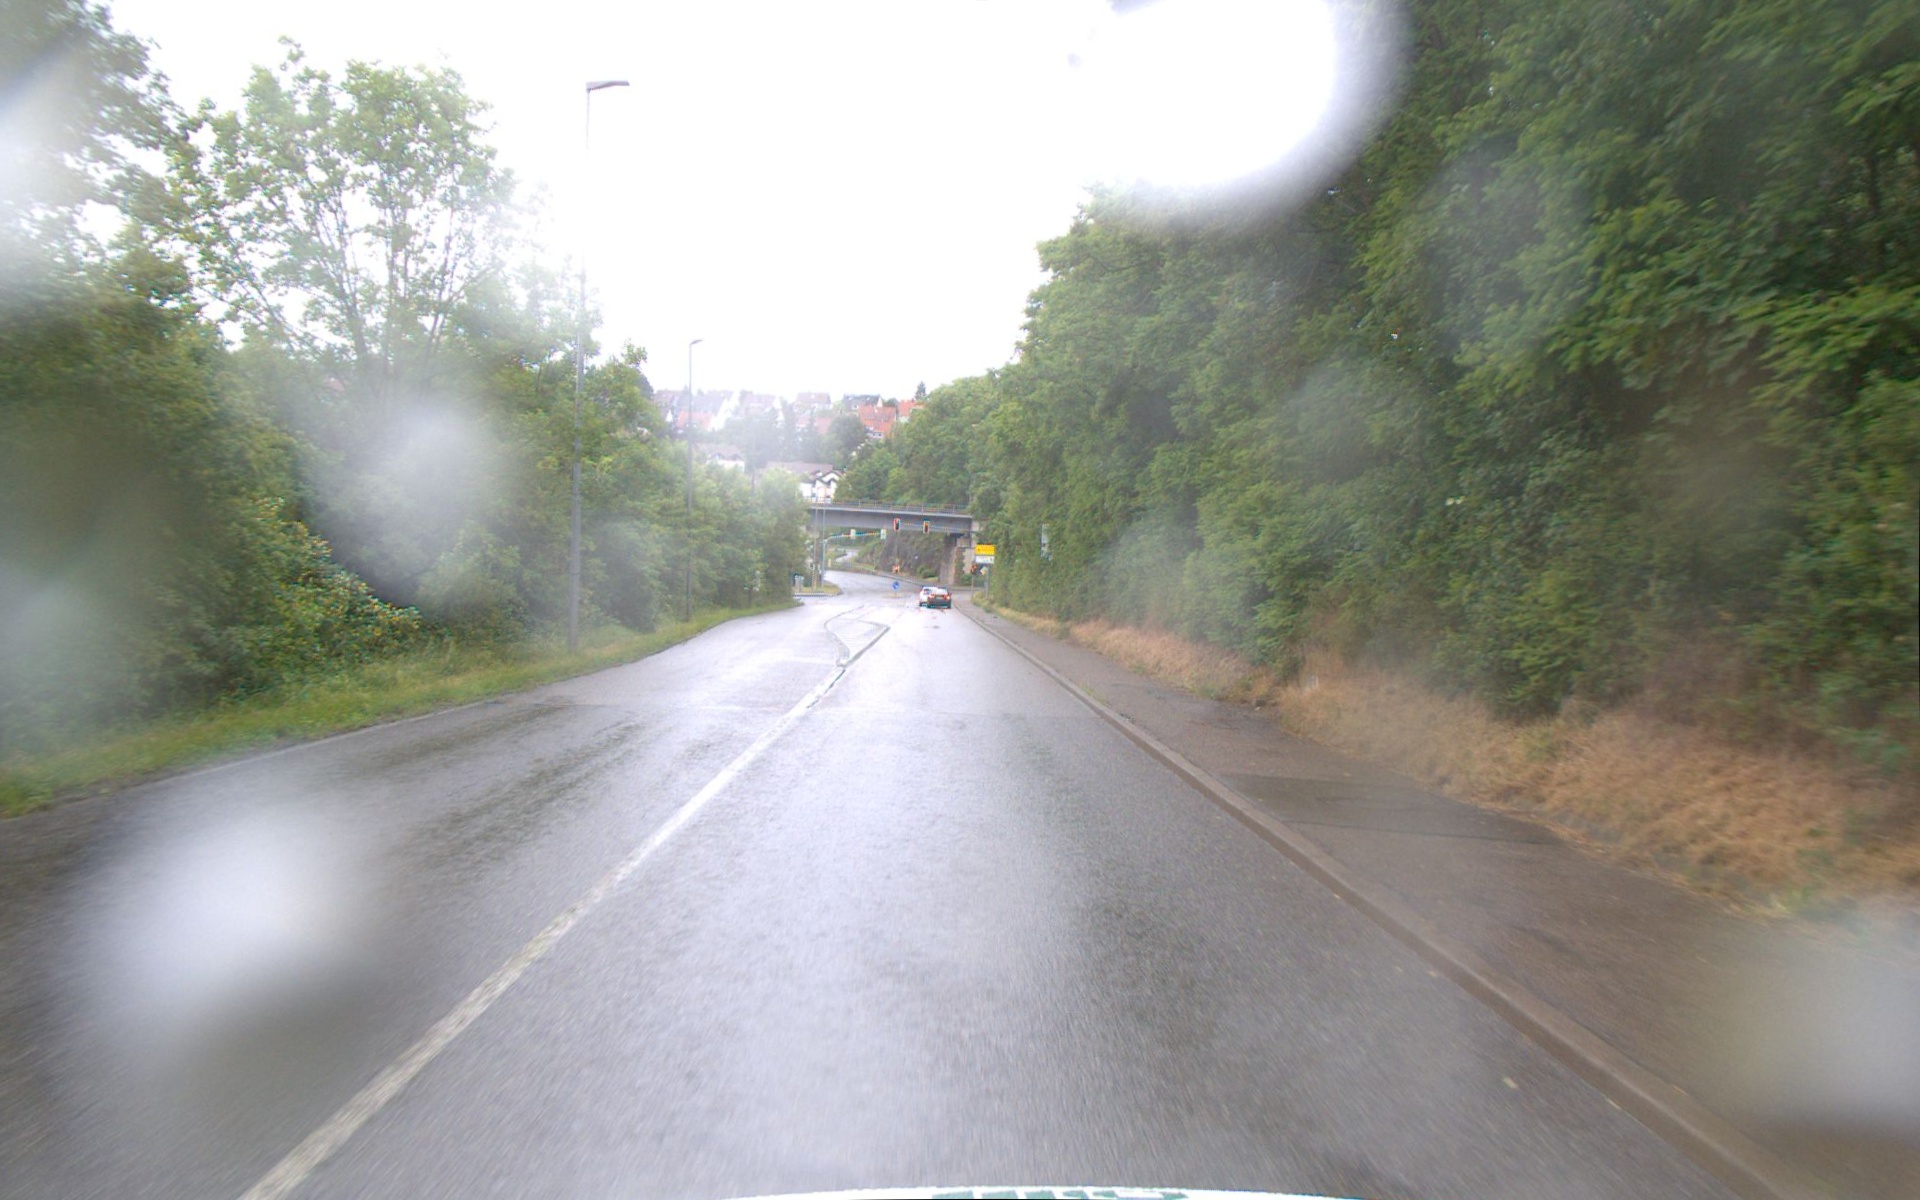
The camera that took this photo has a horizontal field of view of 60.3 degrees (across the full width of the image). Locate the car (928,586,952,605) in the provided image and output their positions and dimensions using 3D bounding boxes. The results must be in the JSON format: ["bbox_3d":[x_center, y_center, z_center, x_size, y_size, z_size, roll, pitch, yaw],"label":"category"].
[{"bbox_3d":[-1.463,-0.343,122.001,1.732,1.404,4.000,1,0,-1],"label":"car"}]

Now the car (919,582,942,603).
[{"bbox_3d":[-2.271,-0.606,128.537,1.732,1.590,4.000,1,0,-1],"label":"car"}]
